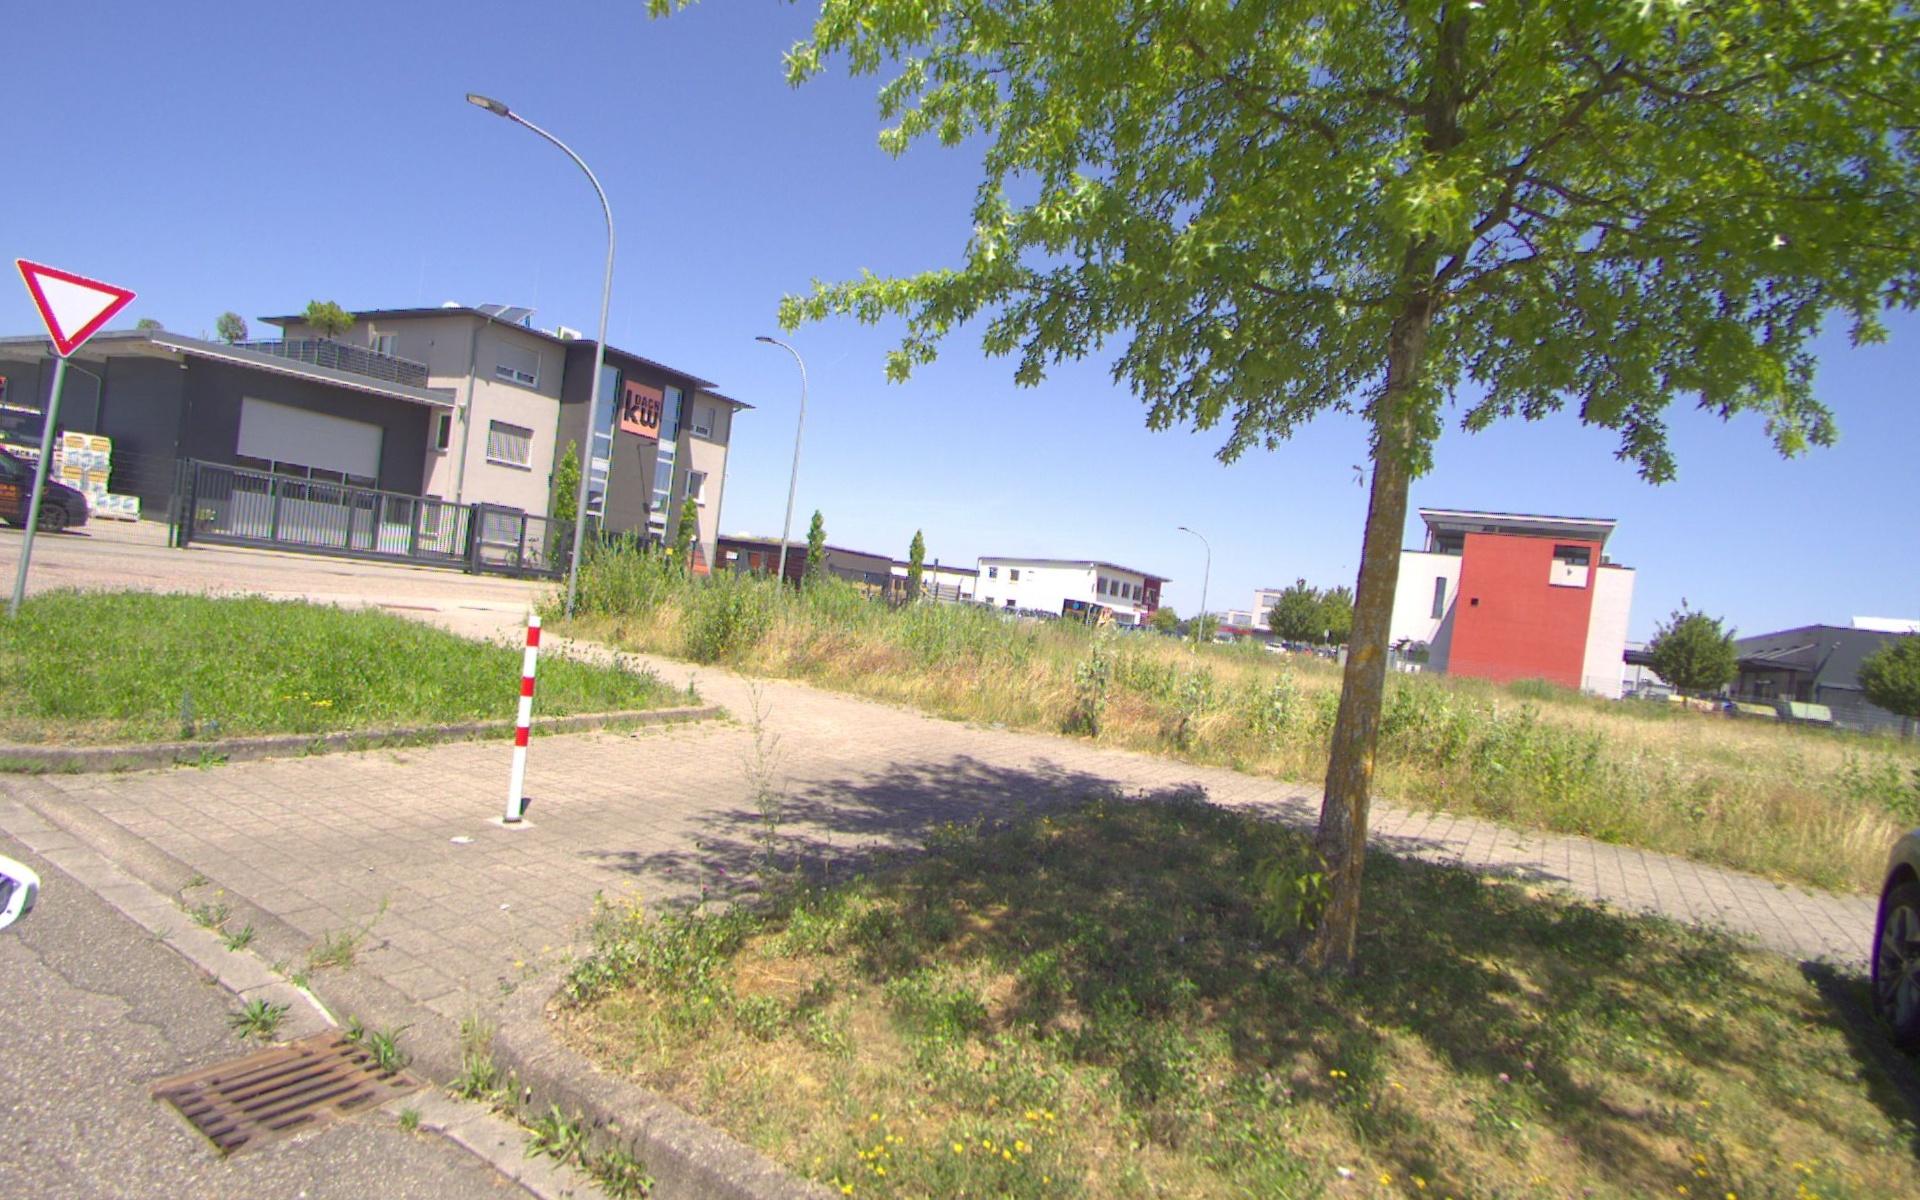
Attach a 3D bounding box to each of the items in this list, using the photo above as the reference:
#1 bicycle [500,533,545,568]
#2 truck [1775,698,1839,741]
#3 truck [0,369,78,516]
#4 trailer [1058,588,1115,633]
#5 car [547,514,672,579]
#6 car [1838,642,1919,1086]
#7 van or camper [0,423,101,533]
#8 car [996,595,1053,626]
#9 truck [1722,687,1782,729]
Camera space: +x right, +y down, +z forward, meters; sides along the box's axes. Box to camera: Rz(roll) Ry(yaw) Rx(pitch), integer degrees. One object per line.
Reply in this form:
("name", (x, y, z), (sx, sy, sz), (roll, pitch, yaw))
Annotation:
("bicycle", (-17.211, -1.929, 39.625), (0.436, 1.200, 1.807), (8, 1, 17))
("truck", (49.595, 6.952, 58.984), (1.966, 2.039, 3.991), (8, 1, 31))
("truck", (-30.400, -4.989, 30.810), (6.819, 3.979, 2.924), (8, 1, 31))
("trailer", (8.617, 0.734, 68.523), (2.195, 2.633, 3.992), (8, 1, 30))
("car", (-13.281, -1.985, 38.303), (1.967, 1.891, 3.991), (8, 1, 31))
("car", (4.001, 1.041, 2.527), (1.820, 1.665, 4.281), (7, 2, 31))
("van or camper", (-22.134, -2.913, 21.729), (1.966, 2.191, 4.942), (9, 1, 30))
("car", (3.843, 0.649, 59.511), (1.650, 1.401, 3.634), (9, 1, 32))
("truck", (47.187, 6.396, 60.025), (1.966, 2.039, 4.347), (8, 1, 31))
